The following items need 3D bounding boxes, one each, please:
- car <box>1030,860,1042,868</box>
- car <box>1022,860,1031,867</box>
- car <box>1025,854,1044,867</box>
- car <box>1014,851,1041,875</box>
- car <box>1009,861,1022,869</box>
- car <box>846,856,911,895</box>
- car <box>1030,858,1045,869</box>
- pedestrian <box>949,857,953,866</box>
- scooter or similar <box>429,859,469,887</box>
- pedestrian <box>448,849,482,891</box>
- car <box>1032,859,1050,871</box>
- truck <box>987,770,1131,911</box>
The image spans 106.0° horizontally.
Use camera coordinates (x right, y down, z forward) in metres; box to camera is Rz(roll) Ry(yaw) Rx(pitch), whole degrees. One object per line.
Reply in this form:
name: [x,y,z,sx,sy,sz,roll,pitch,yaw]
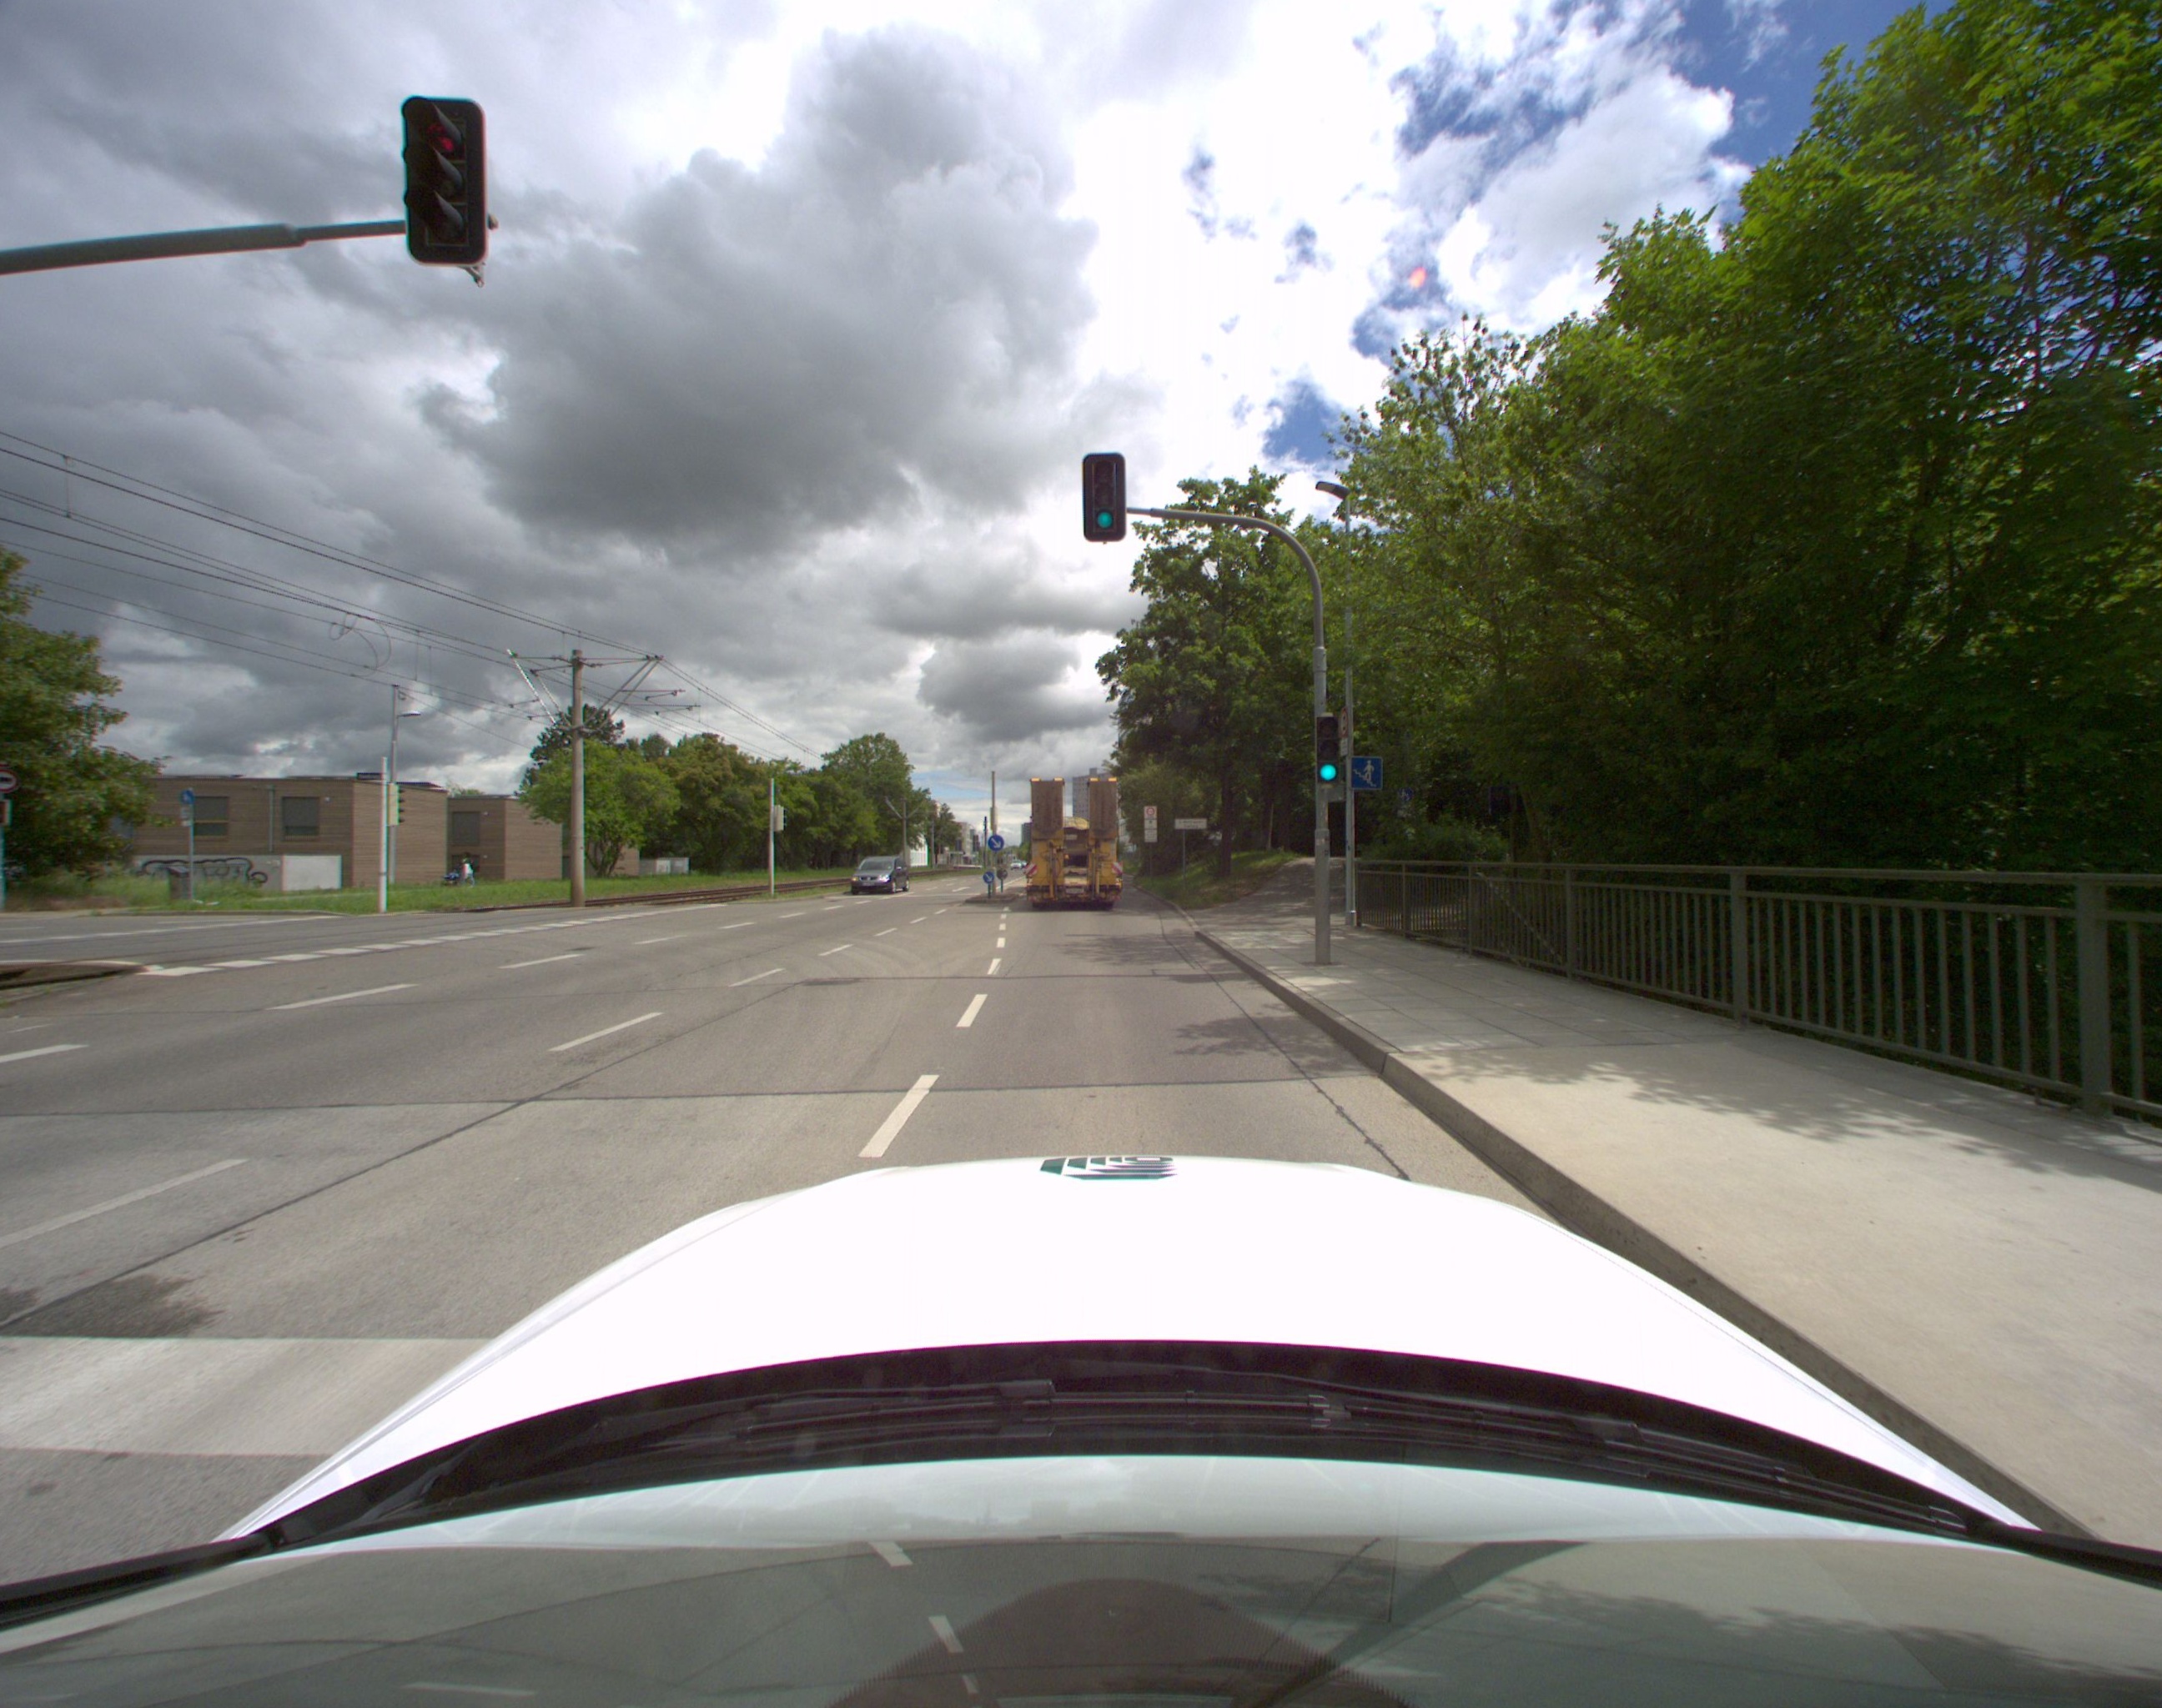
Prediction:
car: [-7.378,1.679,132.965,1.778,1.271,4.343,0,0,-1]
car: [-11.295,1.932,167.969,1.779,1.271,4.341,0,0,-2]
car: [-5.340,0.774,94.091,1.987,1.420,4.000,2,0,0]
car: [-4.626,0.781,70.992,1.987,1.926,4.000,2,0,0]
car: [-10.192,1.677,127.484,1.778,1.271,4.343,0,0,-1]
car: [-8.673,0.886,35.233,1.778,1.570,4.343,0,0,-1]
car: [-6.865,1.476,128.715,1.987,1.618,4.000,2,0,0]
pedestrian: [-27.616,1.603,173.591,0.649,2.014,0.654,1,0,5]
scooter or similar: [-27.272,0.814,35.164,0.887,1.184,0.973,1,0,2]
pedestrian: [-27.184,0.717,35.958,0.798,1.811,0.809,1,0,4]
car: [-5.085,1.339,104.084,1.987,1.420,4.000,2,0,0]
truck: [-0.208,-0.335,27.636,3.300,3.651,12.580,1,0,5]
